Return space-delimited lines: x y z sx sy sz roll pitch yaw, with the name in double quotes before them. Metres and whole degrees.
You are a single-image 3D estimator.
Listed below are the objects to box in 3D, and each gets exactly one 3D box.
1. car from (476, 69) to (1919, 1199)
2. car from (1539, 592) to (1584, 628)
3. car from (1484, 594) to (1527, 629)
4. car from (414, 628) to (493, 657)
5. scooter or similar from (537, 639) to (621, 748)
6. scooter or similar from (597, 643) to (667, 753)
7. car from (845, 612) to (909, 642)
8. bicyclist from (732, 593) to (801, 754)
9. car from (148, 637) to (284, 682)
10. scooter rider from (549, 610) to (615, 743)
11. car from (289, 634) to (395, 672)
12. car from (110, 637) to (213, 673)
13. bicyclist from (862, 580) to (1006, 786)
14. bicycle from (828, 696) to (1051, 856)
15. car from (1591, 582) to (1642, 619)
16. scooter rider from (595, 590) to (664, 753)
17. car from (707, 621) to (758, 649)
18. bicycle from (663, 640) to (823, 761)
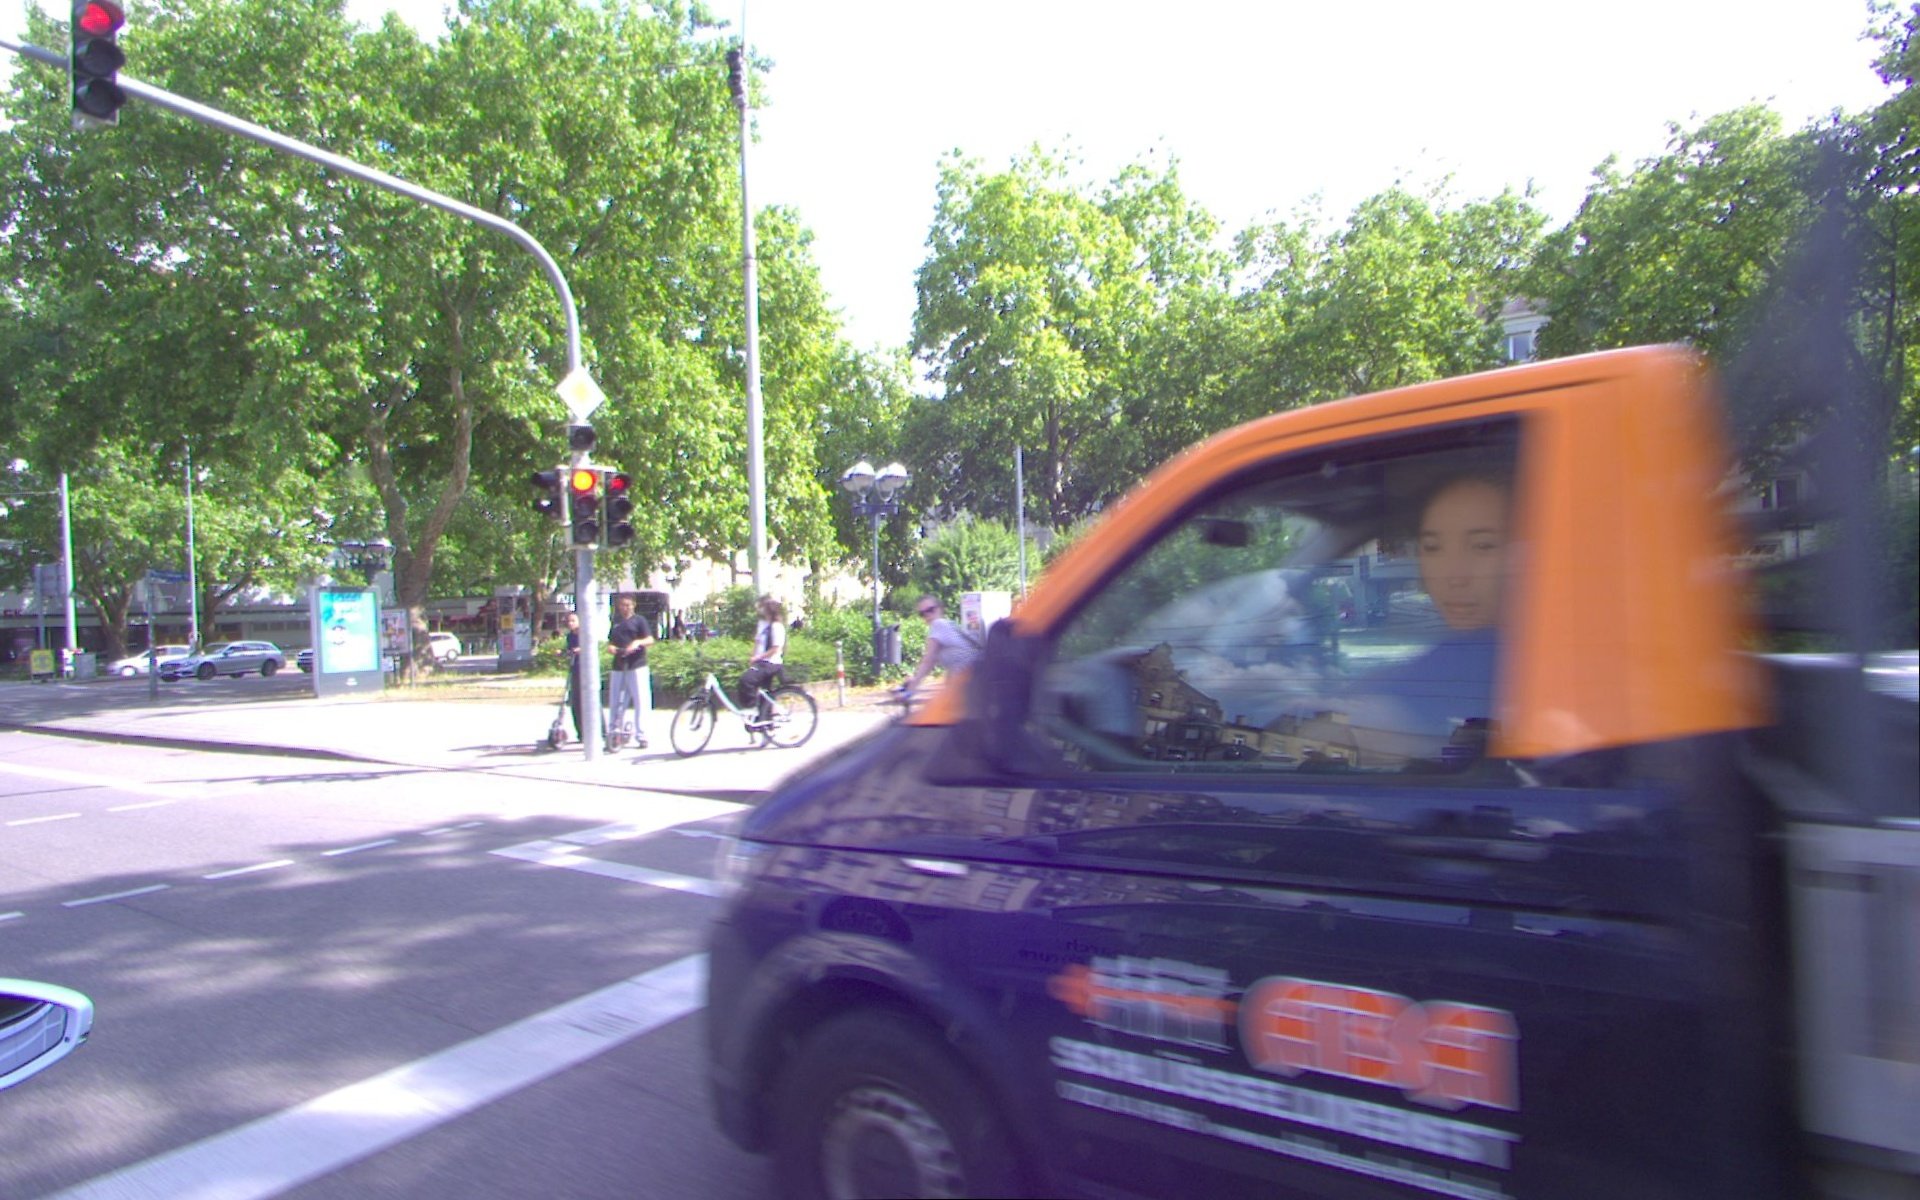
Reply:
"car" 1.552 0.430 2.005 5.264 2.012 2.070 -4 -1 33
"car" 30.228 0.478 50.375 1.824 1.681 4.063 -2 0 30
"car" 28.401 0.583 52.075 1.824 1.681 4.063 -2 0 30
"car" -30.135 2.490 59.656 1.831 1.510 3.836 -2 0 25
"scooter or similar" -4.725 1.149 12.457 0.535 1.243 0.876 -2 2 11
"scooter or similar" -3.874 1.129 11.807 0.537 1.187 0.872 -4 2 -31
"car" -5.090 1.631 61.828 1.825 1.681 4.062 -2 0 31
"bicyclist" -2.142 0.793 11.060 0.573 1.691 0.506 -4 2 -18
"car" -29.324 2.331 39.610 1.827 1.509 3.994 -2 -1 16
"scooter rider" -4.717 0.947 12.514 0.535 1.615 0.437 -2 2 11
"car" -28.274 2.413 45.973 1.826 1.509 4.073 -2 -1 12
"car" -38.633 2.636 48.499 1.716 1.504 3.642 -2 0 40
"bicyclist" -0.192 0.561 7.092 0.899 1.361 0.467 -2 0 42
"bicycle" -0.190 1.191 7.121 1.698 0.933 0.467 -3 0 42
"car" 32.165 0.023 49.134 1.824 1.681 4.063 -2 0 30
"scooter rider" -3.897 0.819 11.798 0.537 1.835 0.676 -4 2 -31
"car" -14.236 2.179 62.813 1.658 1.521 3.997 -2 0 9
"bicycle" -2.381 1.078 10.991 1.602 1.127 0.506 -4 2 -18
